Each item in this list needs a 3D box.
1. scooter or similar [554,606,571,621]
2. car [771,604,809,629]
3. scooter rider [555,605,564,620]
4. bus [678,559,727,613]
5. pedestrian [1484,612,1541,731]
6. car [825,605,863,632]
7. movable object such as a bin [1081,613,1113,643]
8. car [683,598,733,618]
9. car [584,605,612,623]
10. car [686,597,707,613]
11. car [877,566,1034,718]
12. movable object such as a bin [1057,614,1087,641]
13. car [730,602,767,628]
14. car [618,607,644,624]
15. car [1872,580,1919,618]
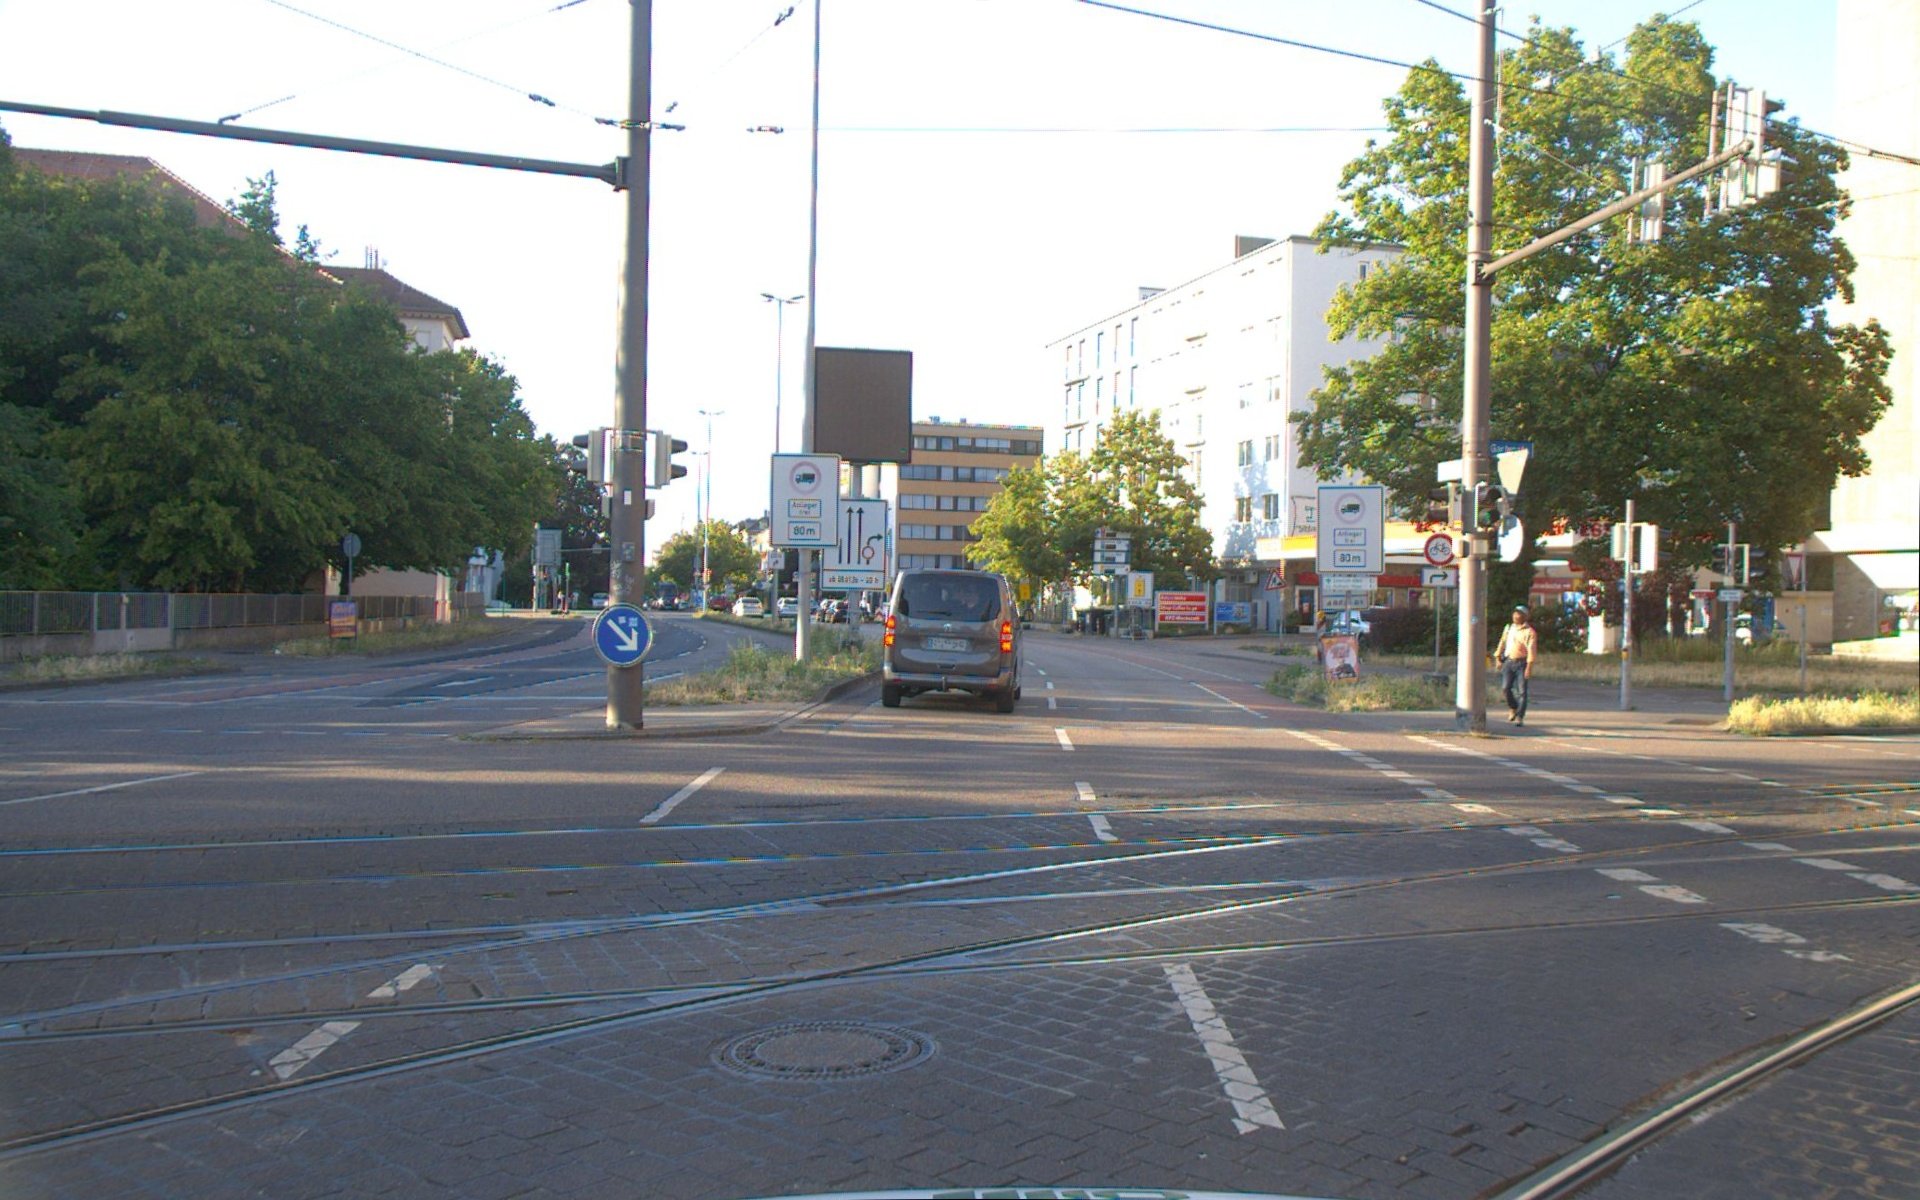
[{"bbox_3d":[-28.010,0.979,116.501,1.083,0.993,0.555,3,-1,-22],"label":"scooter or similar"},{"bbox_3d":[-11.601,1.113,112.819,1.960,1.685,4.282,1,0,-14],"label":"car"},{"bbox_3d":[-28.215,0.857,116.423,0.502,1.054,0.443,3,-1,-23],"label":"scooter rider"},{"bbox_3d":[-23.822,-1.245,152.764,3.235,4.698,9.959,3,-1,-15],"label":"bus"},{"bbox_3d":[7.927,1.015,23.754,0.541,1.657,0.699,1,0,-3],"label":"pedestrian"},{"bbox_3d":[-7.642,1.177,108.521,1.958,1.685,4.288,1,0,-11],"label":"car"},{"bbox_3d":[7.134,1.454,86.000,1.434,1.479,1.546,1,0,-4],"label":"movable object such as a bin"},{"bbox_3d":[-21.979,0.713,144.214,3.937,1.623,1.984,2,0,-26],"label":"car"},{"bbox_3d":[-34.143,1.338,156.075,1.955,1.623,3.996,1,0,-5],"label":"car"},{"bbox_3d":[-29.341,0.528,183.969,1.819,1.738,3.708,1,0,-16],"label":"car"},{"bbox_3d":[0.033,0.586,24.108,1.952,1.934,4.300,2,-1,3],"label":"car"},{"bbox_3d":[6.053,1.484,89.291,1.434,1.410,1.546,1,0,-4],"label":"movable object such as a bin"},{"bbox_3d":[-14.317,0.977,111.590,1.960,1.685,4.282,1,0,-14],"label":"car"},{"bbox_3d":[-31.253,1.460,157.180,1.955,1.623,3.996,1,0,-5],"label":"car"},{"bbox_3d":[53.431,-0.052,92.541,1.962,2.049,3.981,1,0,-17],"label":"car"}]
